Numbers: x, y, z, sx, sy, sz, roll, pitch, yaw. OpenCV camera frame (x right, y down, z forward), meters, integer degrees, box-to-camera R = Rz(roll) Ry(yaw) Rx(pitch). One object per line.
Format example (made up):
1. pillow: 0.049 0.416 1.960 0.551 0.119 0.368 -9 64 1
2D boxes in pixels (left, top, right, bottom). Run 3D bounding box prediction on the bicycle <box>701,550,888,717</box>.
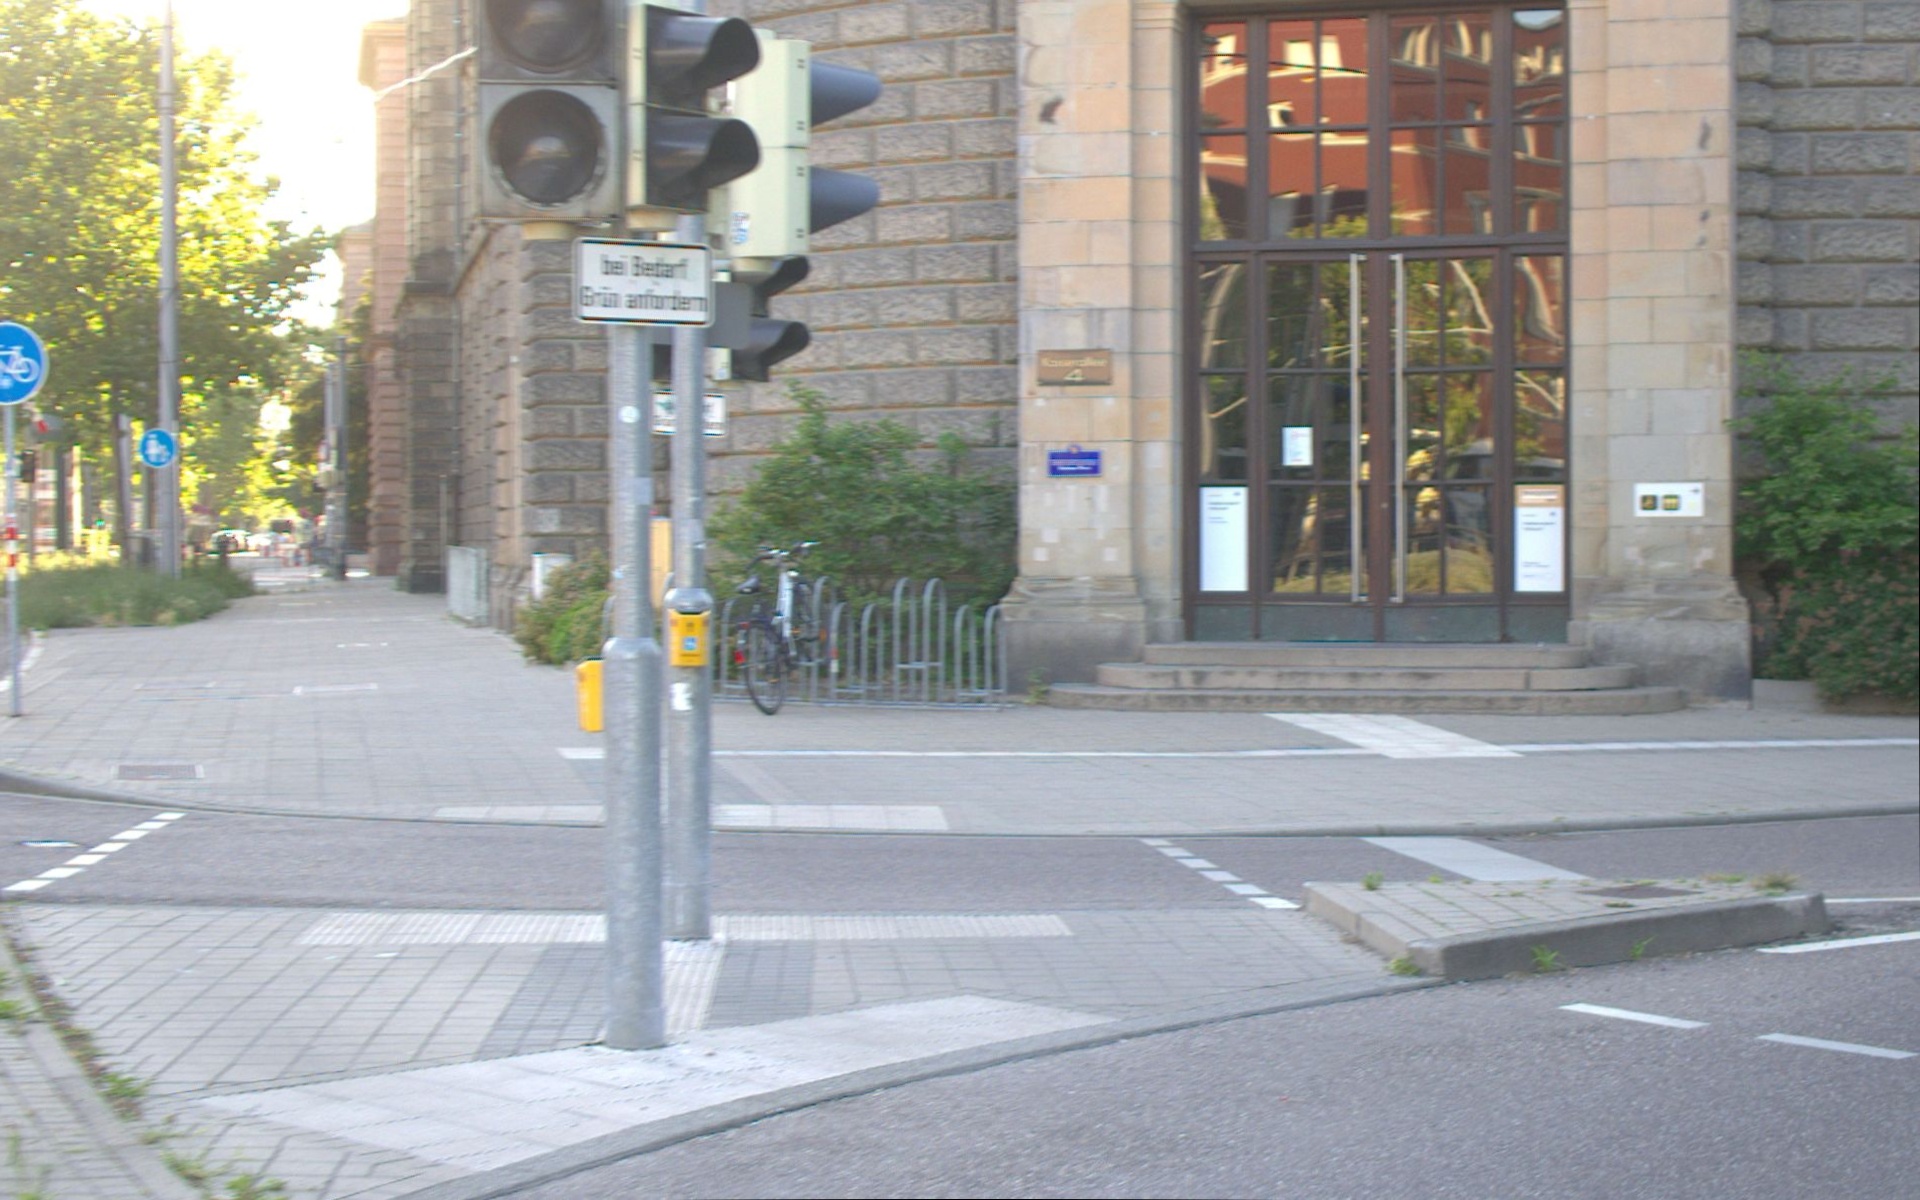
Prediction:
1. bicycle: -1.218 0.226 25.892 0.867 1.192 2.238 0 1 12
